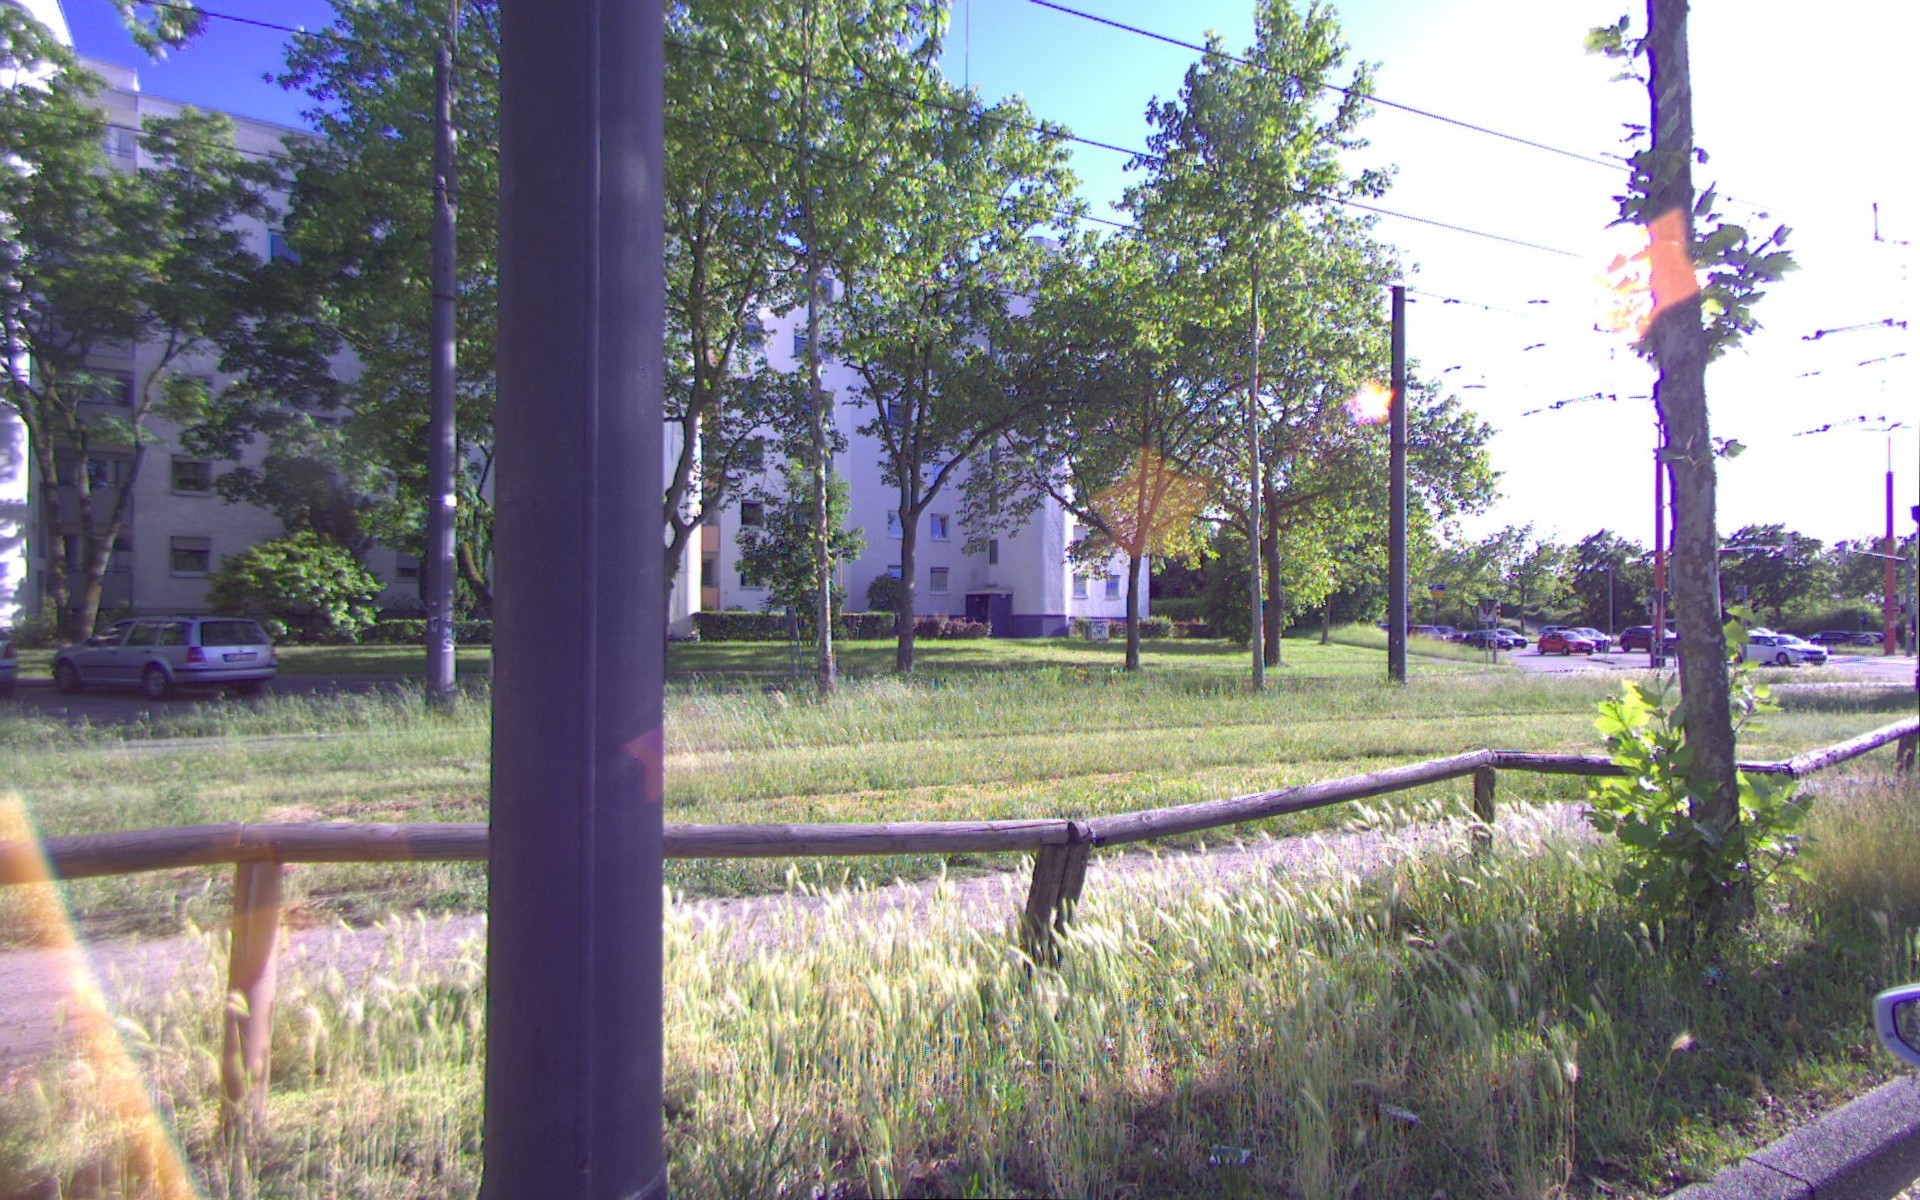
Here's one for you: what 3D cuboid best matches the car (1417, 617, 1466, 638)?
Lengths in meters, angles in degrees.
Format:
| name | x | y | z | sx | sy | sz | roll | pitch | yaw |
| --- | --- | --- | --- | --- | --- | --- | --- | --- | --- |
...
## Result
| name | x | y | z | sx | sy | sz | roll | pitch | yaw |
| --- | --- | --- | --- | --- | --- | --- | --- | --- | --- |
| car | 41.800 | 2.376 | 87.371 | 1.723 | 1.669 | 4.640 | 1 | -1 | -5 |

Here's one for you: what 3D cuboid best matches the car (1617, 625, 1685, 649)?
| name | x | y | z | sx | sy | sz | roll | pitch | yaw |
| --- | --- | --- | --- | --- | --- | --- | --- | --- | --- |
| car | 45.403 | 2.426 | 66.080 | 1.513 | 1.434 | 4.154 | 1 | -1 | -3 |

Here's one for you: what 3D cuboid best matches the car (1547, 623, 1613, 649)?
| name | x | y | z | sx | sy | sz | roll | pitch | yaw |
| --- | --- | --- | --- | --- | --- | --- | --- | --- | --- |
| car | 42.503 | 2.450 | 68.971 | 1.721 | 1.669 | 4.644 | 1 | -1 | 1 |

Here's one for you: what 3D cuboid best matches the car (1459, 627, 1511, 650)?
| name | x | y | z | sx | sy | sz | roll | pitch | yaw |
| --- | --- | --- | --- | --- | --- | --- | --- | --- | --- |
| car | 38.639 | 2.785 | 74.029 | 1.624 | 1.540 | 4.200 | 1 | -1 | 1 |

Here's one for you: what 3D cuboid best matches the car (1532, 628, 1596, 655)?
| name | x | y | z | sx | sy | sz | roll | pitch | yaw |
| --- | --- | --- | --- | --- | --- | --- | --- | --- | --- |
| car | 38.555 | 2.630 | 64.242 | 1.624 | 1.540 | 4.200 | 1 | -1 | 1 |

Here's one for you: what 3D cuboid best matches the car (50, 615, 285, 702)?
| name | x | y | z | sx | sy | sz | roll | pitch | yaw |
| --- | --- | --- | --- | --- | --- | --- | --- | --- | --- |
| car | -14.533 | 1.013 | 18.429 | 3.830 | 1.421 | 1.581 | 1 | 0 | 20 |

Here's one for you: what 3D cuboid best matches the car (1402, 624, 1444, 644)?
| name | x | y | z | sx | sy | sz | roll | pitch | yaw |
| --- | --- | --- | --- | --- | --- | --- | --- | --- | --- |
| car | 38.430 | 2.789 | 83.489 | 1.624 | 1.540 | 4.200 | 1 | -1 | 1 |

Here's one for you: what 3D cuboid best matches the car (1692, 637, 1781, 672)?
| name | x | y | z | sx | sy | sz | roll | pitch | yaw |
| --- | --- | --- | --- | --- | --- | --- | --- | --- | --- |
| car | 42.180 | 2.927 | 54.678 | 1.623 | 1.714 | 4.343 | 1 | -1 | 2 |

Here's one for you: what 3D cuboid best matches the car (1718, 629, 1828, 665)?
| name | x | y | z | sx | sy | sz | roll | pitch | yaw |
| --- | --- | --- | --- | --- | --- | --- | --- | --- | --- |
| car | 39.163 | 2.212 | 48.541 | 1.624 | 1.540 | 4.638 | 1 | -1 | 1 |

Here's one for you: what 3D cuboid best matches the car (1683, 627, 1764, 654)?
| name | x | y | z | sx | sy | sz | roll | pitch | yaw |
| --- | --- | --- | --- | --- | --- | --- | --- | --- | --- |
| car | 45.578 | 2.392 | 60.061 | 1.513 | 1.434 | 4.154 | 1 | -1 | -3 |

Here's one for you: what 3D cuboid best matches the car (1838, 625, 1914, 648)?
| name | x | y | z | sx | sy | sz | roll | pitch | yaw |
| --- | --- | --- | --- | --- | --- | --- | --- | --- | --- |
| car | 63.749 | 2.507 | 69.974 | 1.625 | 1.476 | 3.925 | 1 | -1 | -3 |

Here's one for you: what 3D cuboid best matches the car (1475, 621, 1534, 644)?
| name | x | y | z | sx | sy | sz | roll | pitch | yaw |
| --- | --- | --- | --- | --- | --- | --- | --- | --- | --- |
| car | 42.312 | 2.507 | 78.173 | 1.723 | 1.669 | 4.640 | 1 | -1 | -5 |

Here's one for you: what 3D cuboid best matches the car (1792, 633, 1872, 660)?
| name | x | y | z | sx | sy | sz | roll | pitch | yaw |
| --- | --- | --- | --- | --- | --- | --- | --- | --- | --- |
| car | 59.641 | 3.165 | 68.809 | 1.625 | 1.703 | 4.215 | 1 | -1 | -4 |

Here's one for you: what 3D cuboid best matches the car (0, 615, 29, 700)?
| name | x | y | z | sx | sy | sz | roll | pitch | yaw |
| --- | --- | --- | --- | --- | --- | --- | --- | --- | --- |
| car | -17.983 | 0.950 | 17.155 | 3.567 | 1.421 | 1.581 | 1 | 0 | 20 |
